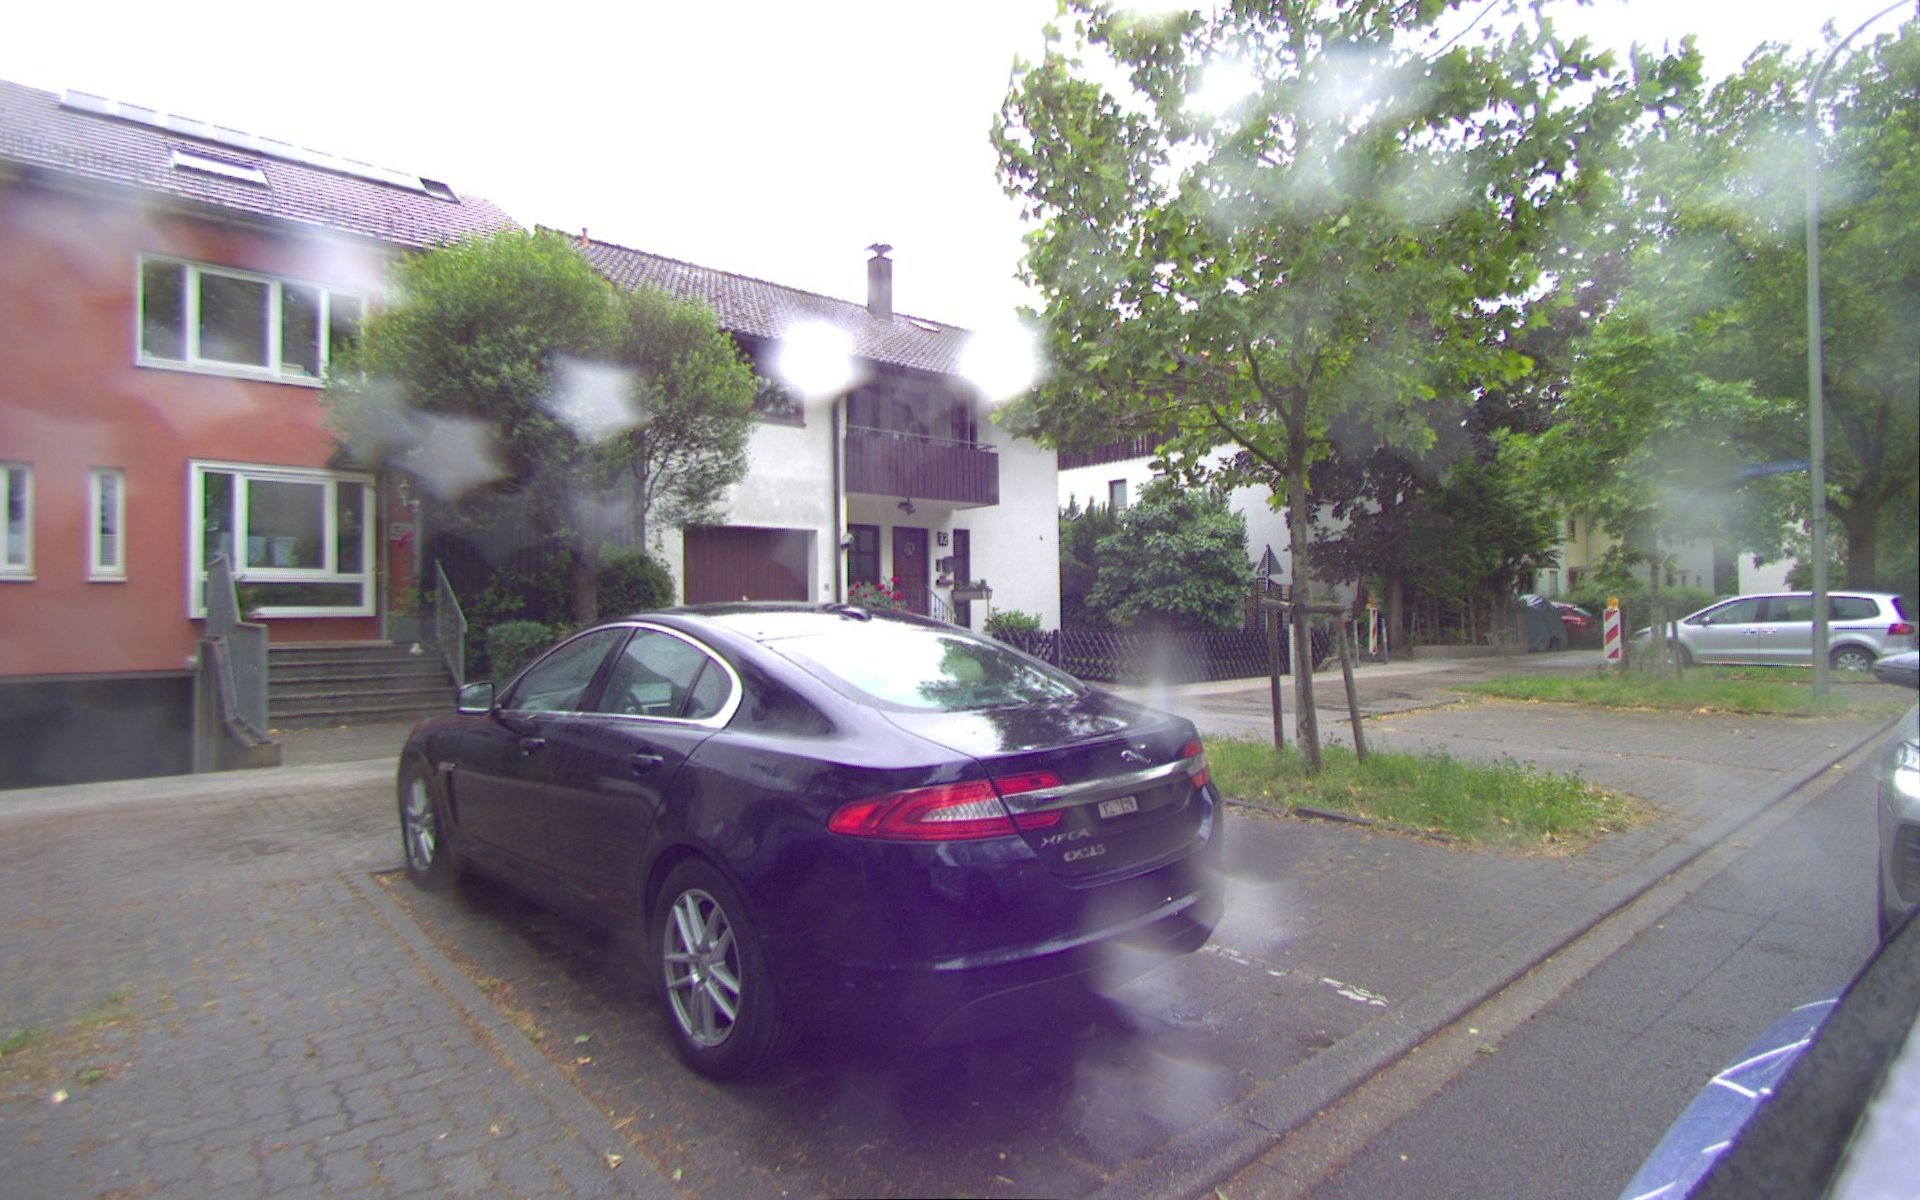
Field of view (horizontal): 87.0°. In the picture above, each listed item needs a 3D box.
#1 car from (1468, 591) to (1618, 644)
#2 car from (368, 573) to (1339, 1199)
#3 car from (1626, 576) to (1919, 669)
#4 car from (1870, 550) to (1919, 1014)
[{"bbox_3d":[19.006,0.533,33.114,1.809,1.633,3.853,0,0,-39],"label":"car"},{"bbox_3d":[-0.977,0.683,4.655,1.906,1.491,4.768,0,0,-45],"label":"car"},{"bbox_3d":[16.568,0.419,20.598,1.942,1.682,4.694,0,0,-42],"label":"car"},{"bbox_3d":[5.553,0.643,4.379,4.346,1.638,1.861,0,-1,-41],"label":"car"}]
